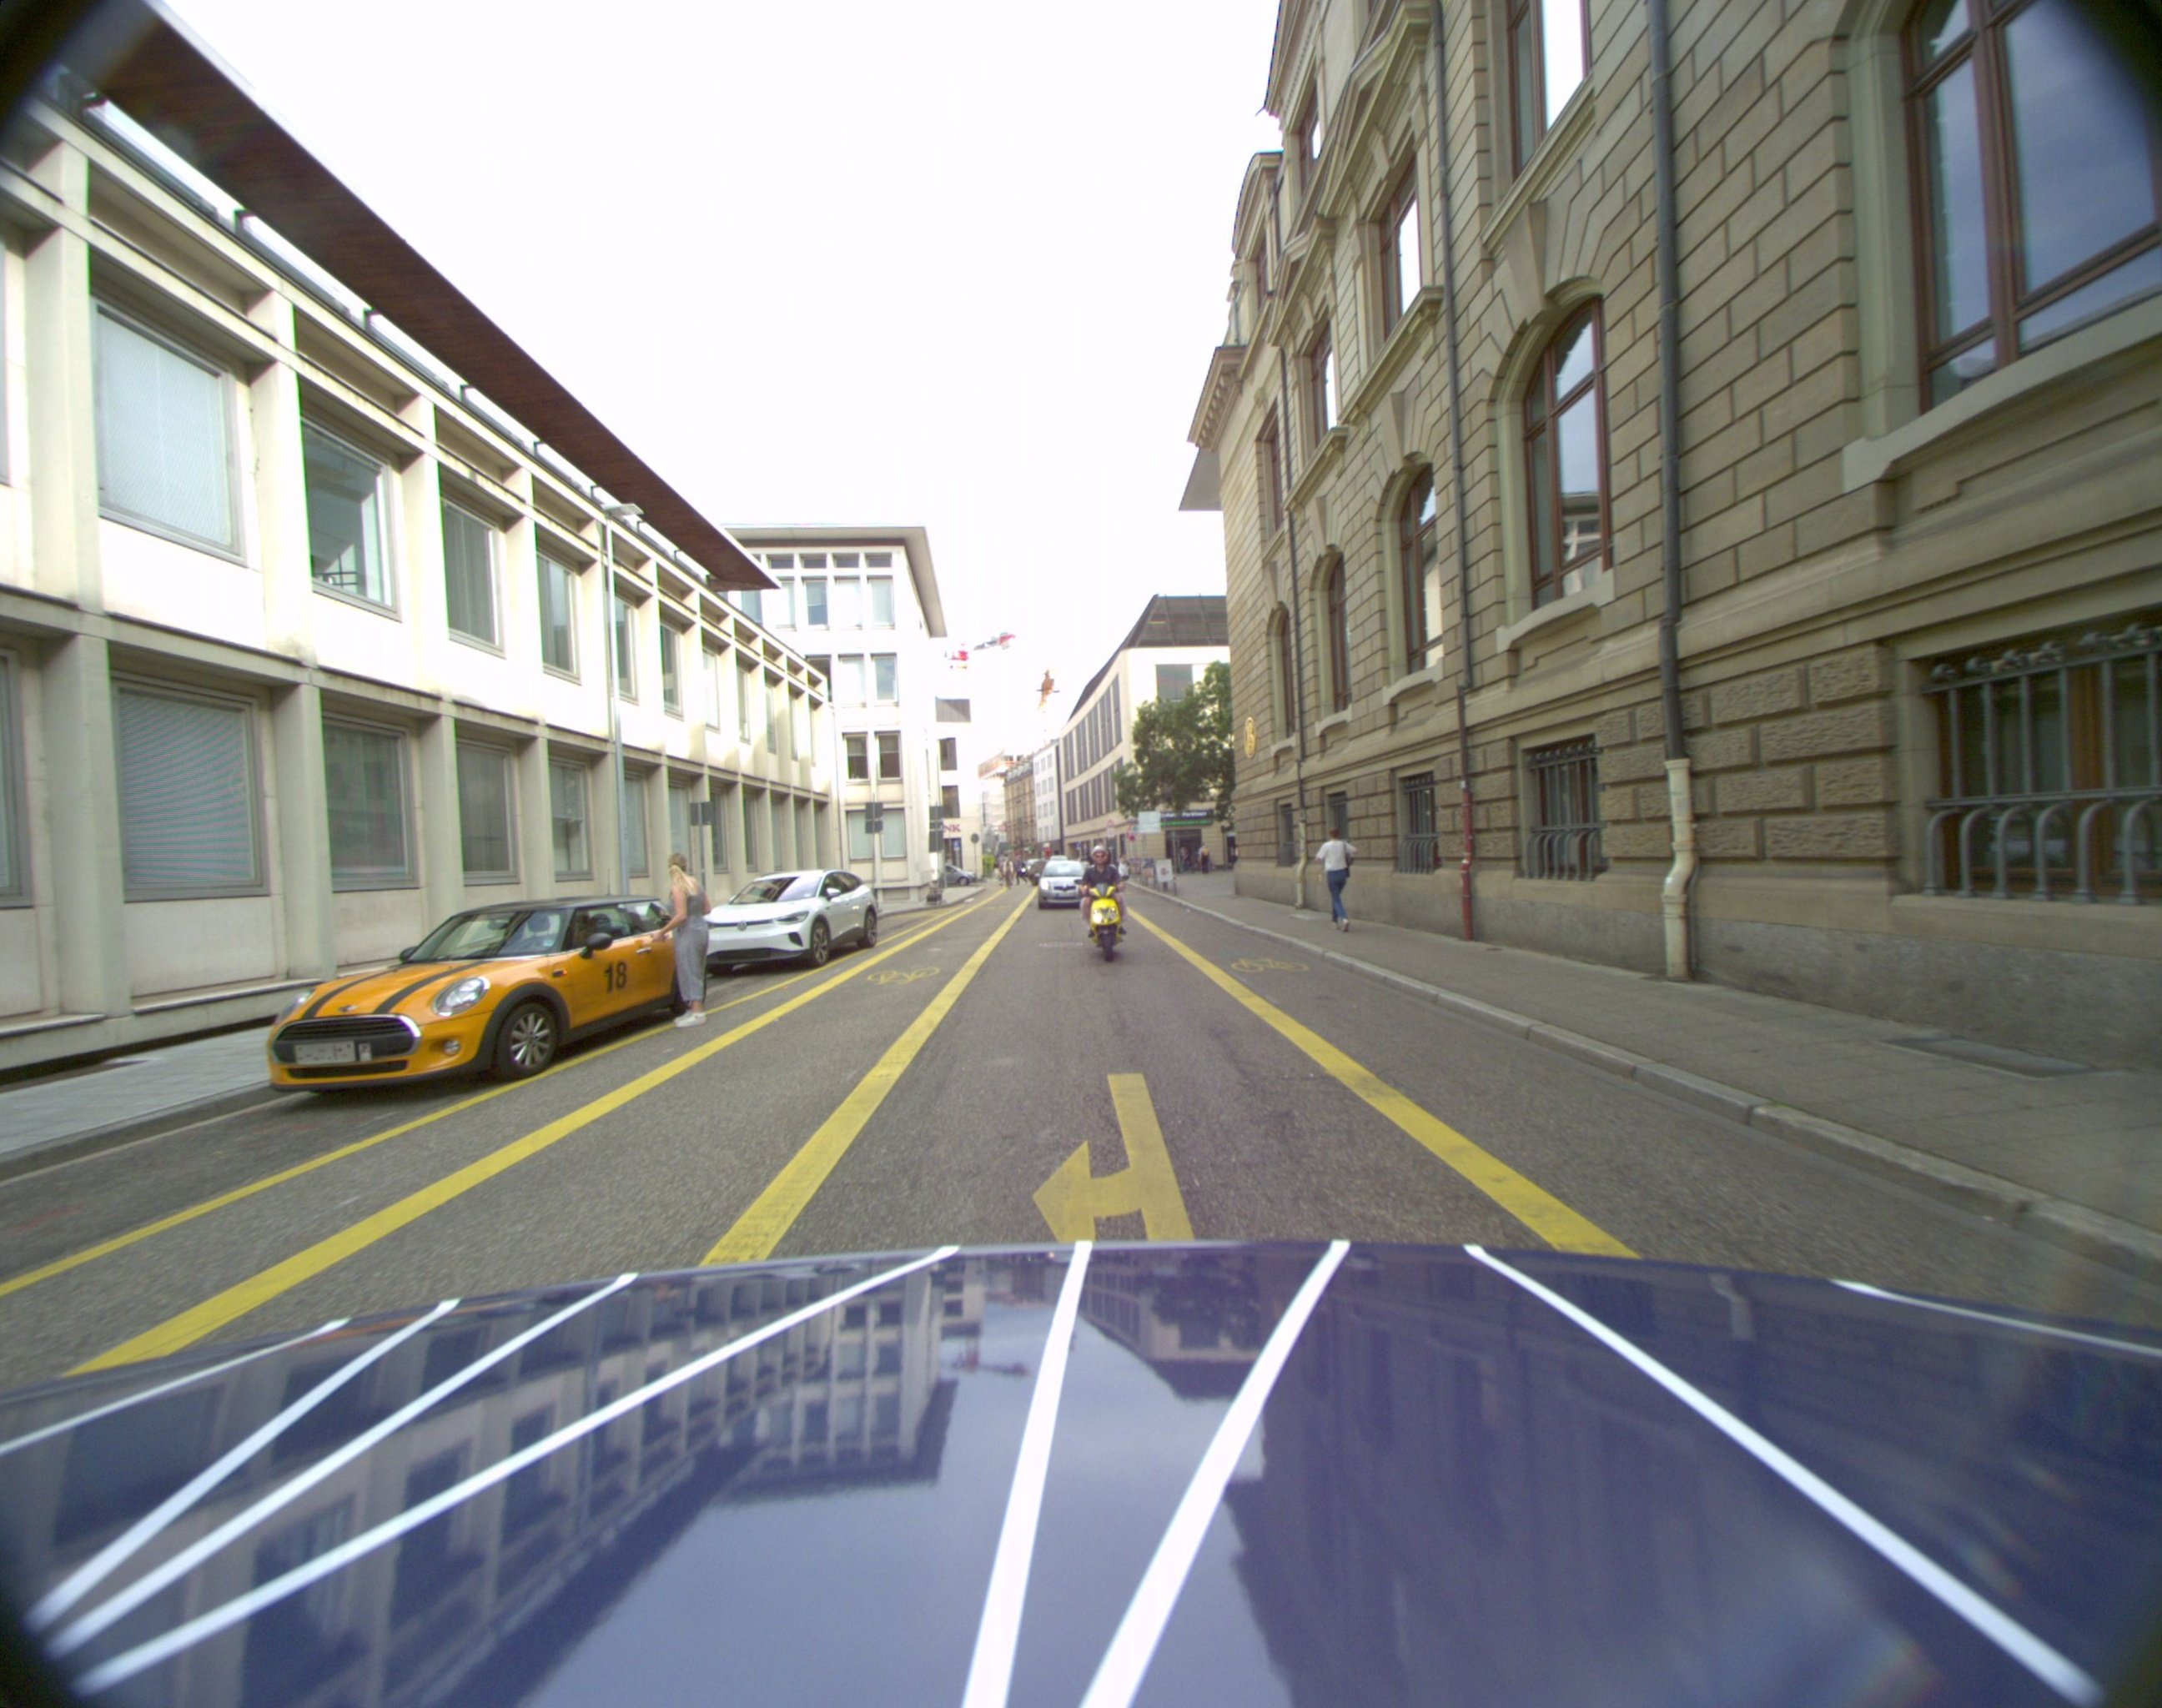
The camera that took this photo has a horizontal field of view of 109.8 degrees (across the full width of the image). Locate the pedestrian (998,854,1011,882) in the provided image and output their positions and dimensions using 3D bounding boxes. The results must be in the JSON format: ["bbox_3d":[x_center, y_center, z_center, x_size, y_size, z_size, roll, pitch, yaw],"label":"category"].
[{"bbox_3d":[-4.835,0.868,47.799,0.644,1.755,0.653,-3,1,-14],"label":"pedestrian"}]

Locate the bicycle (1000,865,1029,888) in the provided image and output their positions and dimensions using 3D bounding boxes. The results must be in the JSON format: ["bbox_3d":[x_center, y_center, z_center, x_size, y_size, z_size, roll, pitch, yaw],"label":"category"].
[{"bbox_3d":[-3.833,1.256,43.638,0.872,1.188,2.859,-3,1,-20],"label":"bicycle"}]

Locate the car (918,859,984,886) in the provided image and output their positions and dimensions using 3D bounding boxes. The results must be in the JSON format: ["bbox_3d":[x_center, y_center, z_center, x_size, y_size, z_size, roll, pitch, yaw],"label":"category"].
[{"bbox_3d":[-8.831,1.225,51.724,4.194,1.581,1.814,-3,1,-4],"label":"car"}]

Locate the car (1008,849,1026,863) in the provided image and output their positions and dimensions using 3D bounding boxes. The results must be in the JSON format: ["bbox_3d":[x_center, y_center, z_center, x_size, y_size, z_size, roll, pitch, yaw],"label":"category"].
[{"bbox_3d":[-7.468,0.195,88.293,1.590,1.477,3.996,-3,1,-11],"label":"car"}]

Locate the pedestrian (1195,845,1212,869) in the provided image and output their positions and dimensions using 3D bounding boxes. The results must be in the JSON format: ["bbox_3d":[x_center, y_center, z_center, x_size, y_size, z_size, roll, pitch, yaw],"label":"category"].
[{"bbox_3d":[9.691,0.247,60.132,1.060,1.755,0.892,-5,2,-5],"label":"pedestrian"}]

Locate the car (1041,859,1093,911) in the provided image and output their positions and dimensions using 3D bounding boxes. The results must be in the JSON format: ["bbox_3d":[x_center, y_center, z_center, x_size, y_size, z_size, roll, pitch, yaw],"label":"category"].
[{"bbox_3d":[-0.507,0.940,24.930,1.563,1.482,3.783,-1,1,-3],"label":"car"}]

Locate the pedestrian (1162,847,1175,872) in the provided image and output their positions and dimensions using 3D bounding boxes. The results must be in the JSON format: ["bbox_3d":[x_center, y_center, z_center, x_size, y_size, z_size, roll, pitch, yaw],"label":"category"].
[{"bbox_3d":[6.615,0.393,57.574,0.648,1.820,0.860,-3,1,-15],"label":"pedestrian"}]

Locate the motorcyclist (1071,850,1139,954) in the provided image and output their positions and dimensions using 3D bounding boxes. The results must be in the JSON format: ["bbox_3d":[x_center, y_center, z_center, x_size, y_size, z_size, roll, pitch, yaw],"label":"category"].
[{"bbox_3d":[0.330,0.682,11.219,0.924,1.445,1.065,-1,0,-1],"label":"motorcyclist"}]

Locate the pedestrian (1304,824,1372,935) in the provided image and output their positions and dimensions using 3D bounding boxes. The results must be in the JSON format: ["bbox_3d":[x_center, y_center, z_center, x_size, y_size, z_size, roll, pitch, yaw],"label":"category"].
[{"bbox_3d":[4.420,0.416,13.132,0.665,1.809,1.047,-5,1,-2],"label":"pedestrian"}]

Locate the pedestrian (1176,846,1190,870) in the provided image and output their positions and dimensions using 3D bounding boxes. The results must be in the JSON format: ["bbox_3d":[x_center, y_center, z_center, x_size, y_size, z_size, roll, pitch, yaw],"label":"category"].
[{"bbox_3d":[7.731,0.316,57.662,0.648,1.820,0.860,-3,1,-15],"label":"pedestrian"}]

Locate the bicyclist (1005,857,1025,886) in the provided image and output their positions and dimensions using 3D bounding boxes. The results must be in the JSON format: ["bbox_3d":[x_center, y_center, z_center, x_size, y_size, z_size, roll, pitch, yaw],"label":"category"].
[{"bbox_3d":[-3.752,0.990,43.377,0.893,1.585,0.876,-3,1,-19],"label":"bicyclist"}]

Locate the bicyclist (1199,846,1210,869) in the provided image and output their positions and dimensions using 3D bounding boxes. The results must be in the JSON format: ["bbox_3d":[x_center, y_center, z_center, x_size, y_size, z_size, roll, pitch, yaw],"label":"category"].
[{"bbox_3d":[8.812,0.222,54.143,0.586,1.586,0.663,-3,1,-5],"label":"bicyclist"}]

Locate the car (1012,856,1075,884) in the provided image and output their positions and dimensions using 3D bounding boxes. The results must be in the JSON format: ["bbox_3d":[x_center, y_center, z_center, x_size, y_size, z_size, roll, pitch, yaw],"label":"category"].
[{"bbox_3d":[-2.283,0.952,45.234,1.720,1.482,3.755,-4,1,-41],"label":"car"}]

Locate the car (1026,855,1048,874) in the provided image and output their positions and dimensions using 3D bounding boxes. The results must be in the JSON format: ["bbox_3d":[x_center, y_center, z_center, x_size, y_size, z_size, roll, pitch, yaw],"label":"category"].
[{"bbox_3d":[-4.110,0.928,70.091,1.563,1.547,4.099,-3,1,-9],"label":"car"}]

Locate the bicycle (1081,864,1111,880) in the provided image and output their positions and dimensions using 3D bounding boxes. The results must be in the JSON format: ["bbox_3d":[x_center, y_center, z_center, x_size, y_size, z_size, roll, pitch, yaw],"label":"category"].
[{"bbox_3d":[0.947,1.166,47.899,1.725,0.829,0.601,-5,-1,-11],"label":"bicycle"}]

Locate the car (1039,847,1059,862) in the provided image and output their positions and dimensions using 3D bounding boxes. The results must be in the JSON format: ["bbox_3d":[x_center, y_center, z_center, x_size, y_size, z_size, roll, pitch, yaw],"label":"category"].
[{"bbox_3d":[-3.663,0.046,86.823,1.564,1.547,4.099,-3,1,-11],"label":"car"}]

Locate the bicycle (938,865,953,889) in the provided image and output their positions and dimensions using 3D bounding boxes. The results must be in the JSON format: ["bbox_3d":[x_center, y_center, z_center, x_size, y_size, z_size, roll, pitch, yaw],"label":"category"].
[{"bbox_3d":[-7.029,1.182,39.488,0.590,1.161,1.813,-3,1,-7],"label":"bicycle"}]

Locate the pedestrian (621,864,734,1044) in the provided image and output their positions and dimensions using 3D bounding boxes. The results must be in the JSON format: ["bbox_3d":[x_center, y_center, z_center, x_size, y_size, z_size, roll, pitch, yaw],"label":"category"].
[{"bbox_3d":[-4.185,1.005,7.937,0.699,1.753,0.706,-3,1,2],"label":"pedestrian"}]

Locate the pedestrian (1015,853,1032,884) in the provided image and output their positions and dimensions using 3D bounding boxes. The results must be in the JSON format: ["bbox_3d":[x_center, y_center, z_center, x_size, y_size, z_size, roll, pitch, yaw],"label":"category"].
[{"bbox_3d":[-3.611,0.909,47.699,0.746,1.804,0.755,-7,2,-14],"label":"pedestrian"}]

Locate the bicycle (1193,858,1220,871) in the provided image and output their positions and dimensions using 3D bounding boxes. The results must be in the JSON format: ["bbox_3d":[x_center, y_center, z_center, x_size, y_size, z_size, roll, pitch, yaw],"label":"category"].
[{"bbox_3d":[8.922,0.730,54.160,1.769,0.792,0.663,-3,1,-5],"label":"bicycle"}]

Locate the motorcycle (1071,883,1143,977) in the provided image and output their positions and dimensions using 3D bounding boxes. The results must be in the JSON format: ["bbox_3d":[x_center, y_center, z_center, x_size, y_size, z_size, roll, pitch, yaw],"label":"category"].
[{"bbox_3d":[0.342,1.060,11.286,0.930,1.158,2.127,-2,0,-1],"label":"motorcycle"}]

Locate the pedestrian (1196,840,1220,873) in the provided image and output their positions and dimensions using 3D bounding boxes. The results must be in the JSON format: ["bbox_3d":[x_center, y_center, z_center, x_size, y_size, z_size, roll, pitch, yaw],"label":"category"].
[{"bbox_3d":[6.881,0.119,41.119,1.029,1.710,0.818,-5,1,-2],"label":"pedestrian"}]

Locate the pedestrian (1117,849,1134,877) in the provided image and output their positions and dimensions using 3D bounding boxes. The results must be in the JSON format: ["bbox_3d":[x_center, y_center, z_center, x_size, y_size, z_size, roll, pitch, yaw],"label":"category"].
[{"bbox_3d":[2.942,0.579,50.499,0.775,1.820,0.860,-3,1,-22],"label":"pedestrian"}]

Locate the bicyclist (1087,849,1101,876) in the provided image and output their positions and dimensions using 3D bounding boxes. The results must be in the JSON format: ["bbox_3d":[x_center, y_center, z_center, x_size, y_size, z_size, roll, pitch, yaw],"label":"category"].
[{"bbox_3d":[0.811,0.550,47.897,0.644,1.610,0.622,-5,0,-11],"label":"bicyclist"}]

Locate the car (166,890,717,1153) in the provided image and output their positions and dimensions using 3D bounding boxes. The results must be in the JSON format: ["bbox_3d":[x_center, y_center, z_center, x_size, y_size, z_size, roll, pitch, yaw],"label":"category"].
[{"bbox_3d":[-5.267,1.232,7.095,1.684,1.426,3.886,-5,1,1],"label":"car"}]

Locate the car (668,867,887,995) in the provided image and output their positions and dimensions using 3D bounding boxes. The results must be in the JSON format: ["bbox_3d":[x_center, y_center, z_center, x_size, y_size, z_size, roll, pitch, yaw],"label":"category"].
[{"bbox_3d":[-5.095,1.195,13.578,1.865,1.596,4.512,-6,1,1],"label":"car"}]

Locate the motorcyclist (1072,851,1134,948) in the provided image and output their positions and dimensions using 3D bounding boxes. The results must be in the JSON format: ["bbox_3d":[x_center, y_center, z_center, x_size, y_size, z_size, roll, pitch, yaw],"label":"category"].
[{"bbox_3d":[0.325,0.686,11.797,0.903,1.445,0.742,-1,0,-1],"label":"motorcyclist"}]

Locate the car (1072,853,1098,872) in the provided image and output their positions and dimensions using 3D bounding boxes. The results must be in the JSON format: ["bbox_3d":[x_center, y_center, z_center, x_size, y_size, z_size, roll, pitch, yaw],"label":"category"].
[{"bbox_3d":[0.326,0.767,67.520,1.563,1.547,4.099,-3,1,-9],"label":"car"}]
